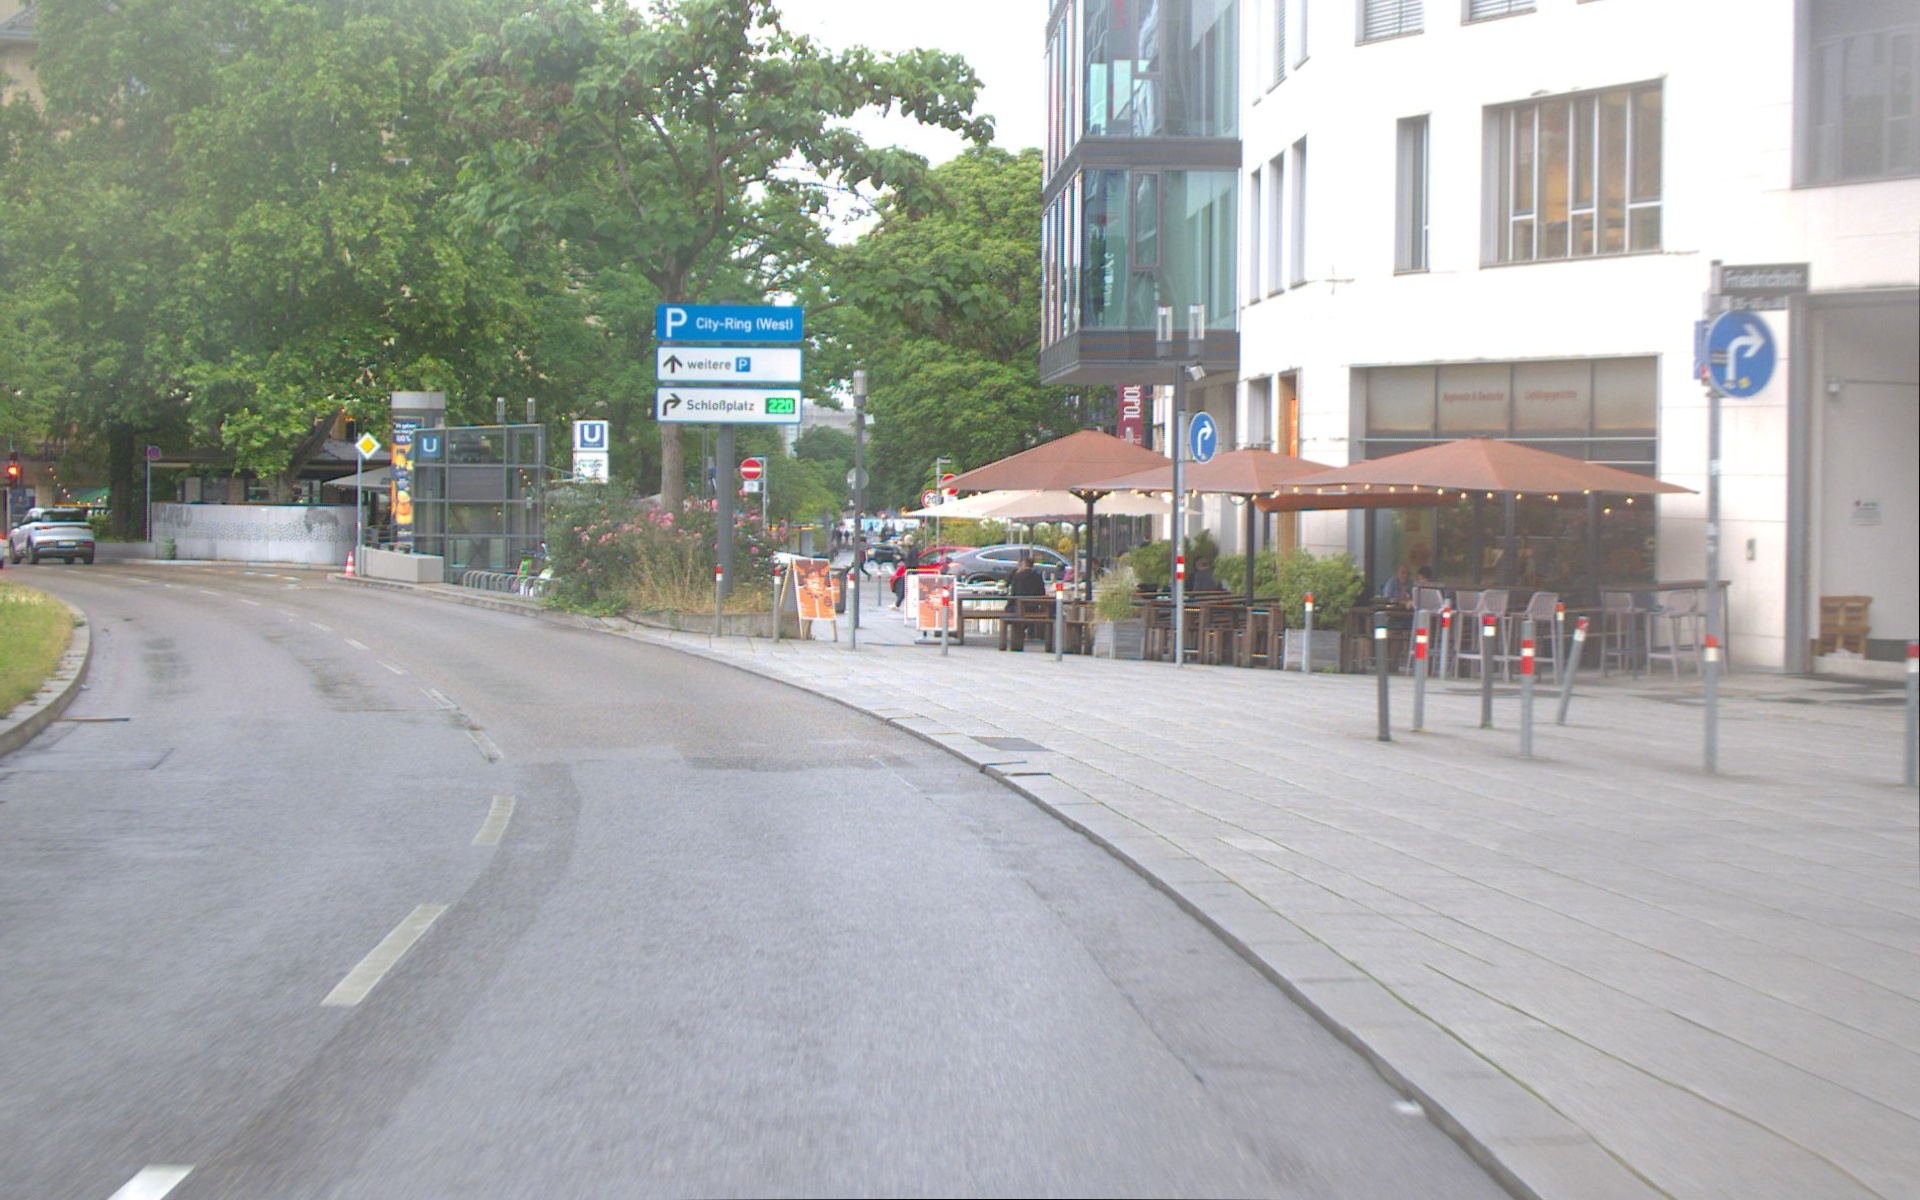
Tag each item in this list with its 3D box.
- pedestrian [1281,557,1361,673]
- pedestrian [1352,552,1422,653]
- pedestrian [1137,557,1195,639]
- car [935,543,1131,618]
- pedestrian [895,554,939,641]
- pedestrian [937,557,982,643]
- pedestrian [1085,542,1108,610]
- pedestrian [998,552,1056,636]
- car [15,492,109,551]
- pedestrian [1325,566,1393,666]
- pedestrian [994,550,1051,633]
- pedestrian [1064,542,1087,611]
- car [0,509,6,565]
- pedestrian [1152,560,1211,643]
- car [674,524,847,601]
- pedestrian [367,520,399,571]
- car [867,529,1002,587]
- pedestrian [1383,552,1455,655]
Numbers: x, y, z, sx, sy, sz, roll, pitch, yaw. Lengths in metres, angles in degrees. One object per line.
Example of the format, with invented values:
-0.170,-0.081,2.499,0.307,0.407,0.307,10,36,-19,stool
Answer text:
4.291,0.175,40.845,0.773,1.322,0.636,3,1,-5,pedestrian
5.734,0.031,46.151,0.626,1.322,0.636,2,1,-25,pedestrian
3.417,-0.035,57.021,0.817,1.322,0.636,3,1,-5,pedestrian
1.772,-0.500,85.071,4.734,1.685,2.005,2,2,-1,car
-0.678,-0.040,54.108,0.606,1.322,0.568,3,1,-5,pedestrian
-0.009,-0.002,54.188,0.606,1.322,0.568,3,1,-5,pedestrian
2.787,-0.492,70.099,0.434,1.399,0.478,0,1,-2,pedestrian
1.092,-0.100,56.138,0.817,1.322,0.636,3,1,-5,pedestrian
-26.163,-2.264,100.050,1.946,1.660,4.346,0,1,-24,car
5.465,0.214,47.127,0.626,1.322,0.636,2,1,-25,pedestrian
1.034,-0.148,56.851,0.817,1.322,0.636,3,1,-5,pedestrian
2.347,-0.484,69.695,0.434,1.399,0.478,0,1,-2,pedestrian
-26.877,-1.684,92.824,1.590,1.486,3.506,-2,2,-24,car
3.619,0.021,56.132,0.817,1.322,0.636,3,1,-5,pedestrian
-4.953,-0.928,85.062,4.096,1.615,1.863,4,0,-5,car
-16.512,-1.562,98.359,0.684,1.405,0.905,2,0,-20,pedestrian
-0.707,-1.148,92.797,1.610,1.411,3.527,1,1,-45,car
6.054,0.043,45.344,0.626,1.322,0.636,2,1,-25,pedestrian
